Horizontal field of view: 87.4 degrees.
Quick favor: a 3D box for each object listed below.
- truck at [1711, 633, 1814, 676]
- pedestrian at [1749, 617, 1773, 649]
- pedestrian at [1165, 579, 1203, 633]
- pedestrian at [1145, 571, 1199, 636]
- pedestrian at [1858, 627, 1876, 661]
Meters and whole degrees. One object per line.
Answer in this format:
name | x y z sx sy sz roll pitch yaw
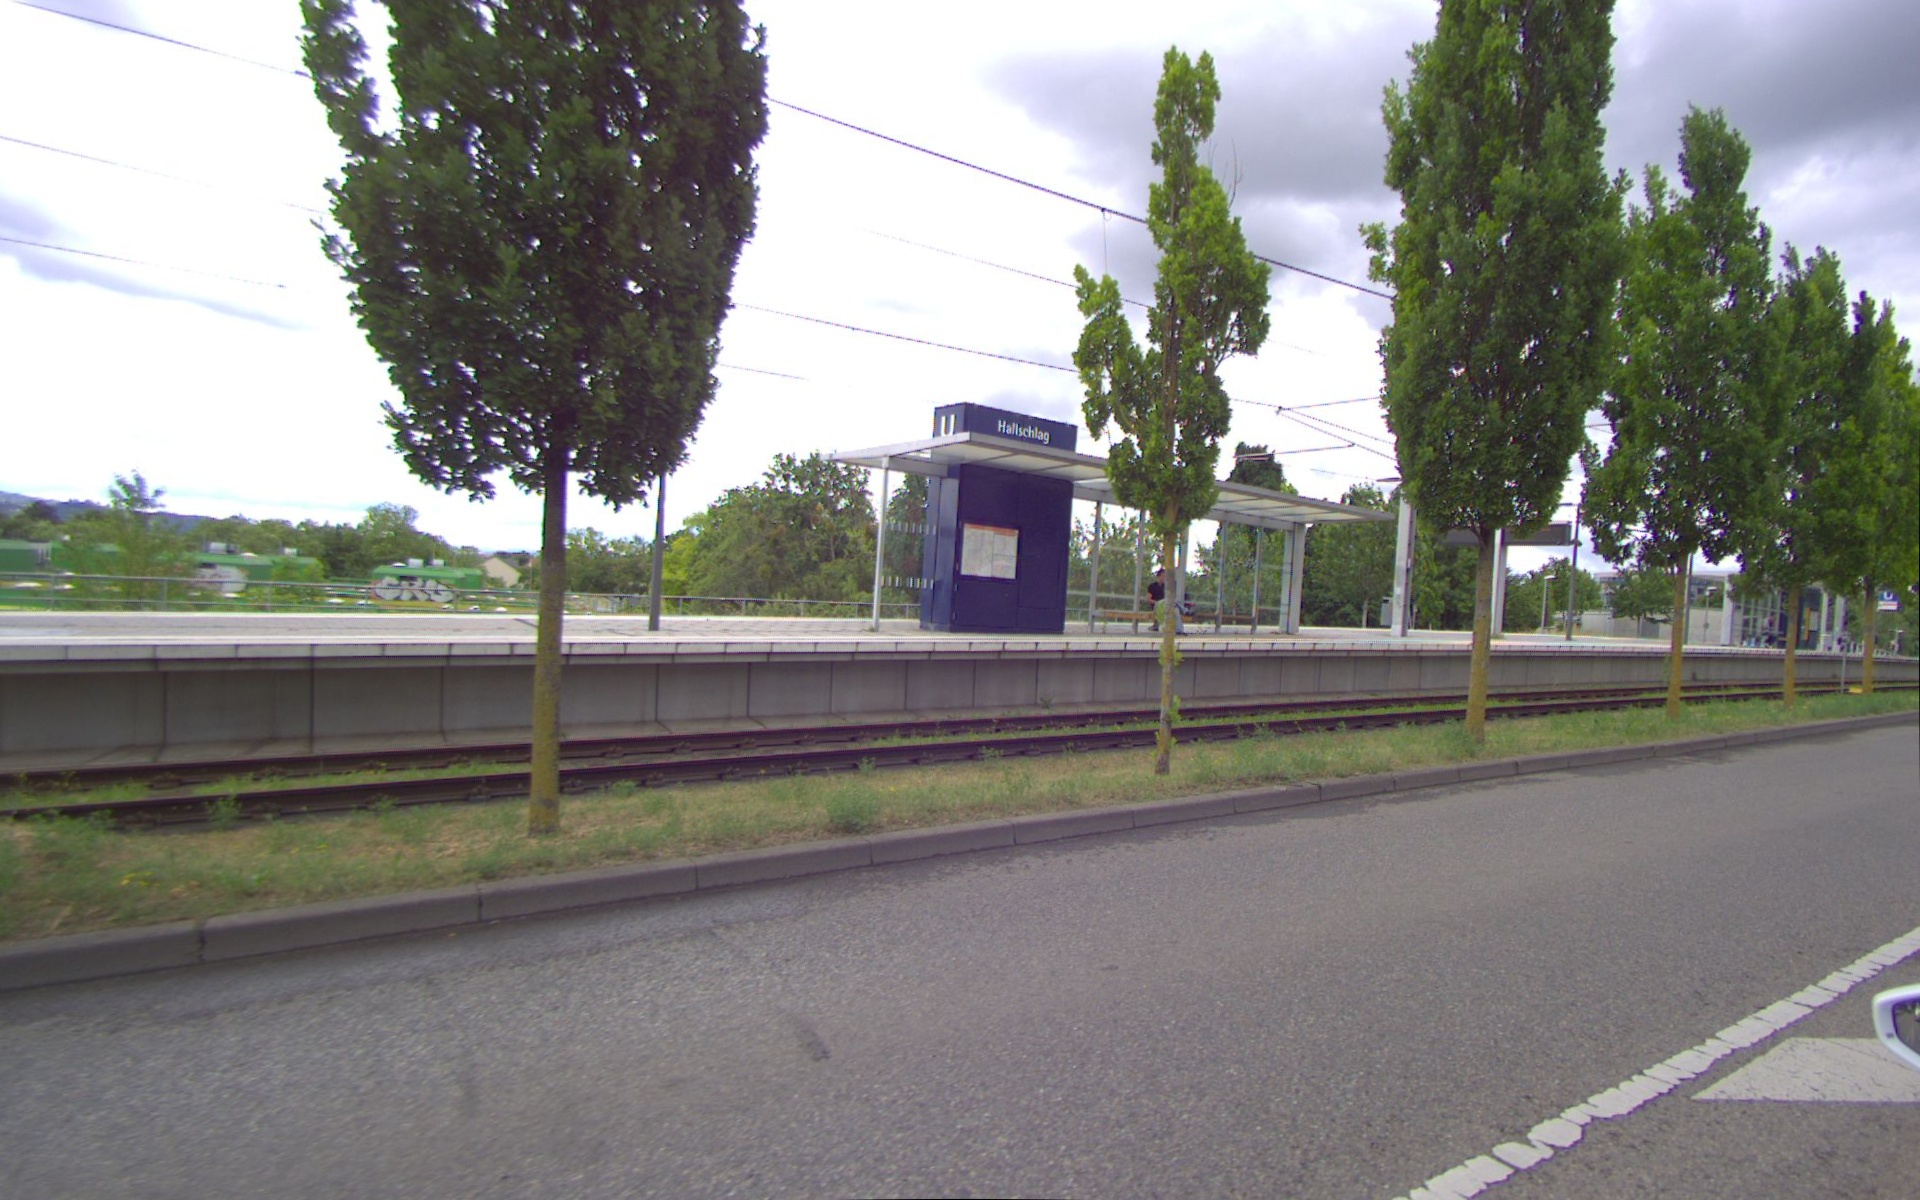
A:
truck | 75.995 5.102 95.283 2.659 3.647 7.207 1 0 -29
pedestrian | 32.798 1.340 41.121 0.654 1.286 0.605 1 1 -39
pedestrian | 4.652 0.122 20.904 0.465 1.093 0.603 1 1 -34
pedestrian | 4.122 0.068 19.572 0.659 1.215 0.756 2 0 -34
pedestrian | 51.933 2.523 57.506 0.786 1.851 0.568 4 -1 -37
